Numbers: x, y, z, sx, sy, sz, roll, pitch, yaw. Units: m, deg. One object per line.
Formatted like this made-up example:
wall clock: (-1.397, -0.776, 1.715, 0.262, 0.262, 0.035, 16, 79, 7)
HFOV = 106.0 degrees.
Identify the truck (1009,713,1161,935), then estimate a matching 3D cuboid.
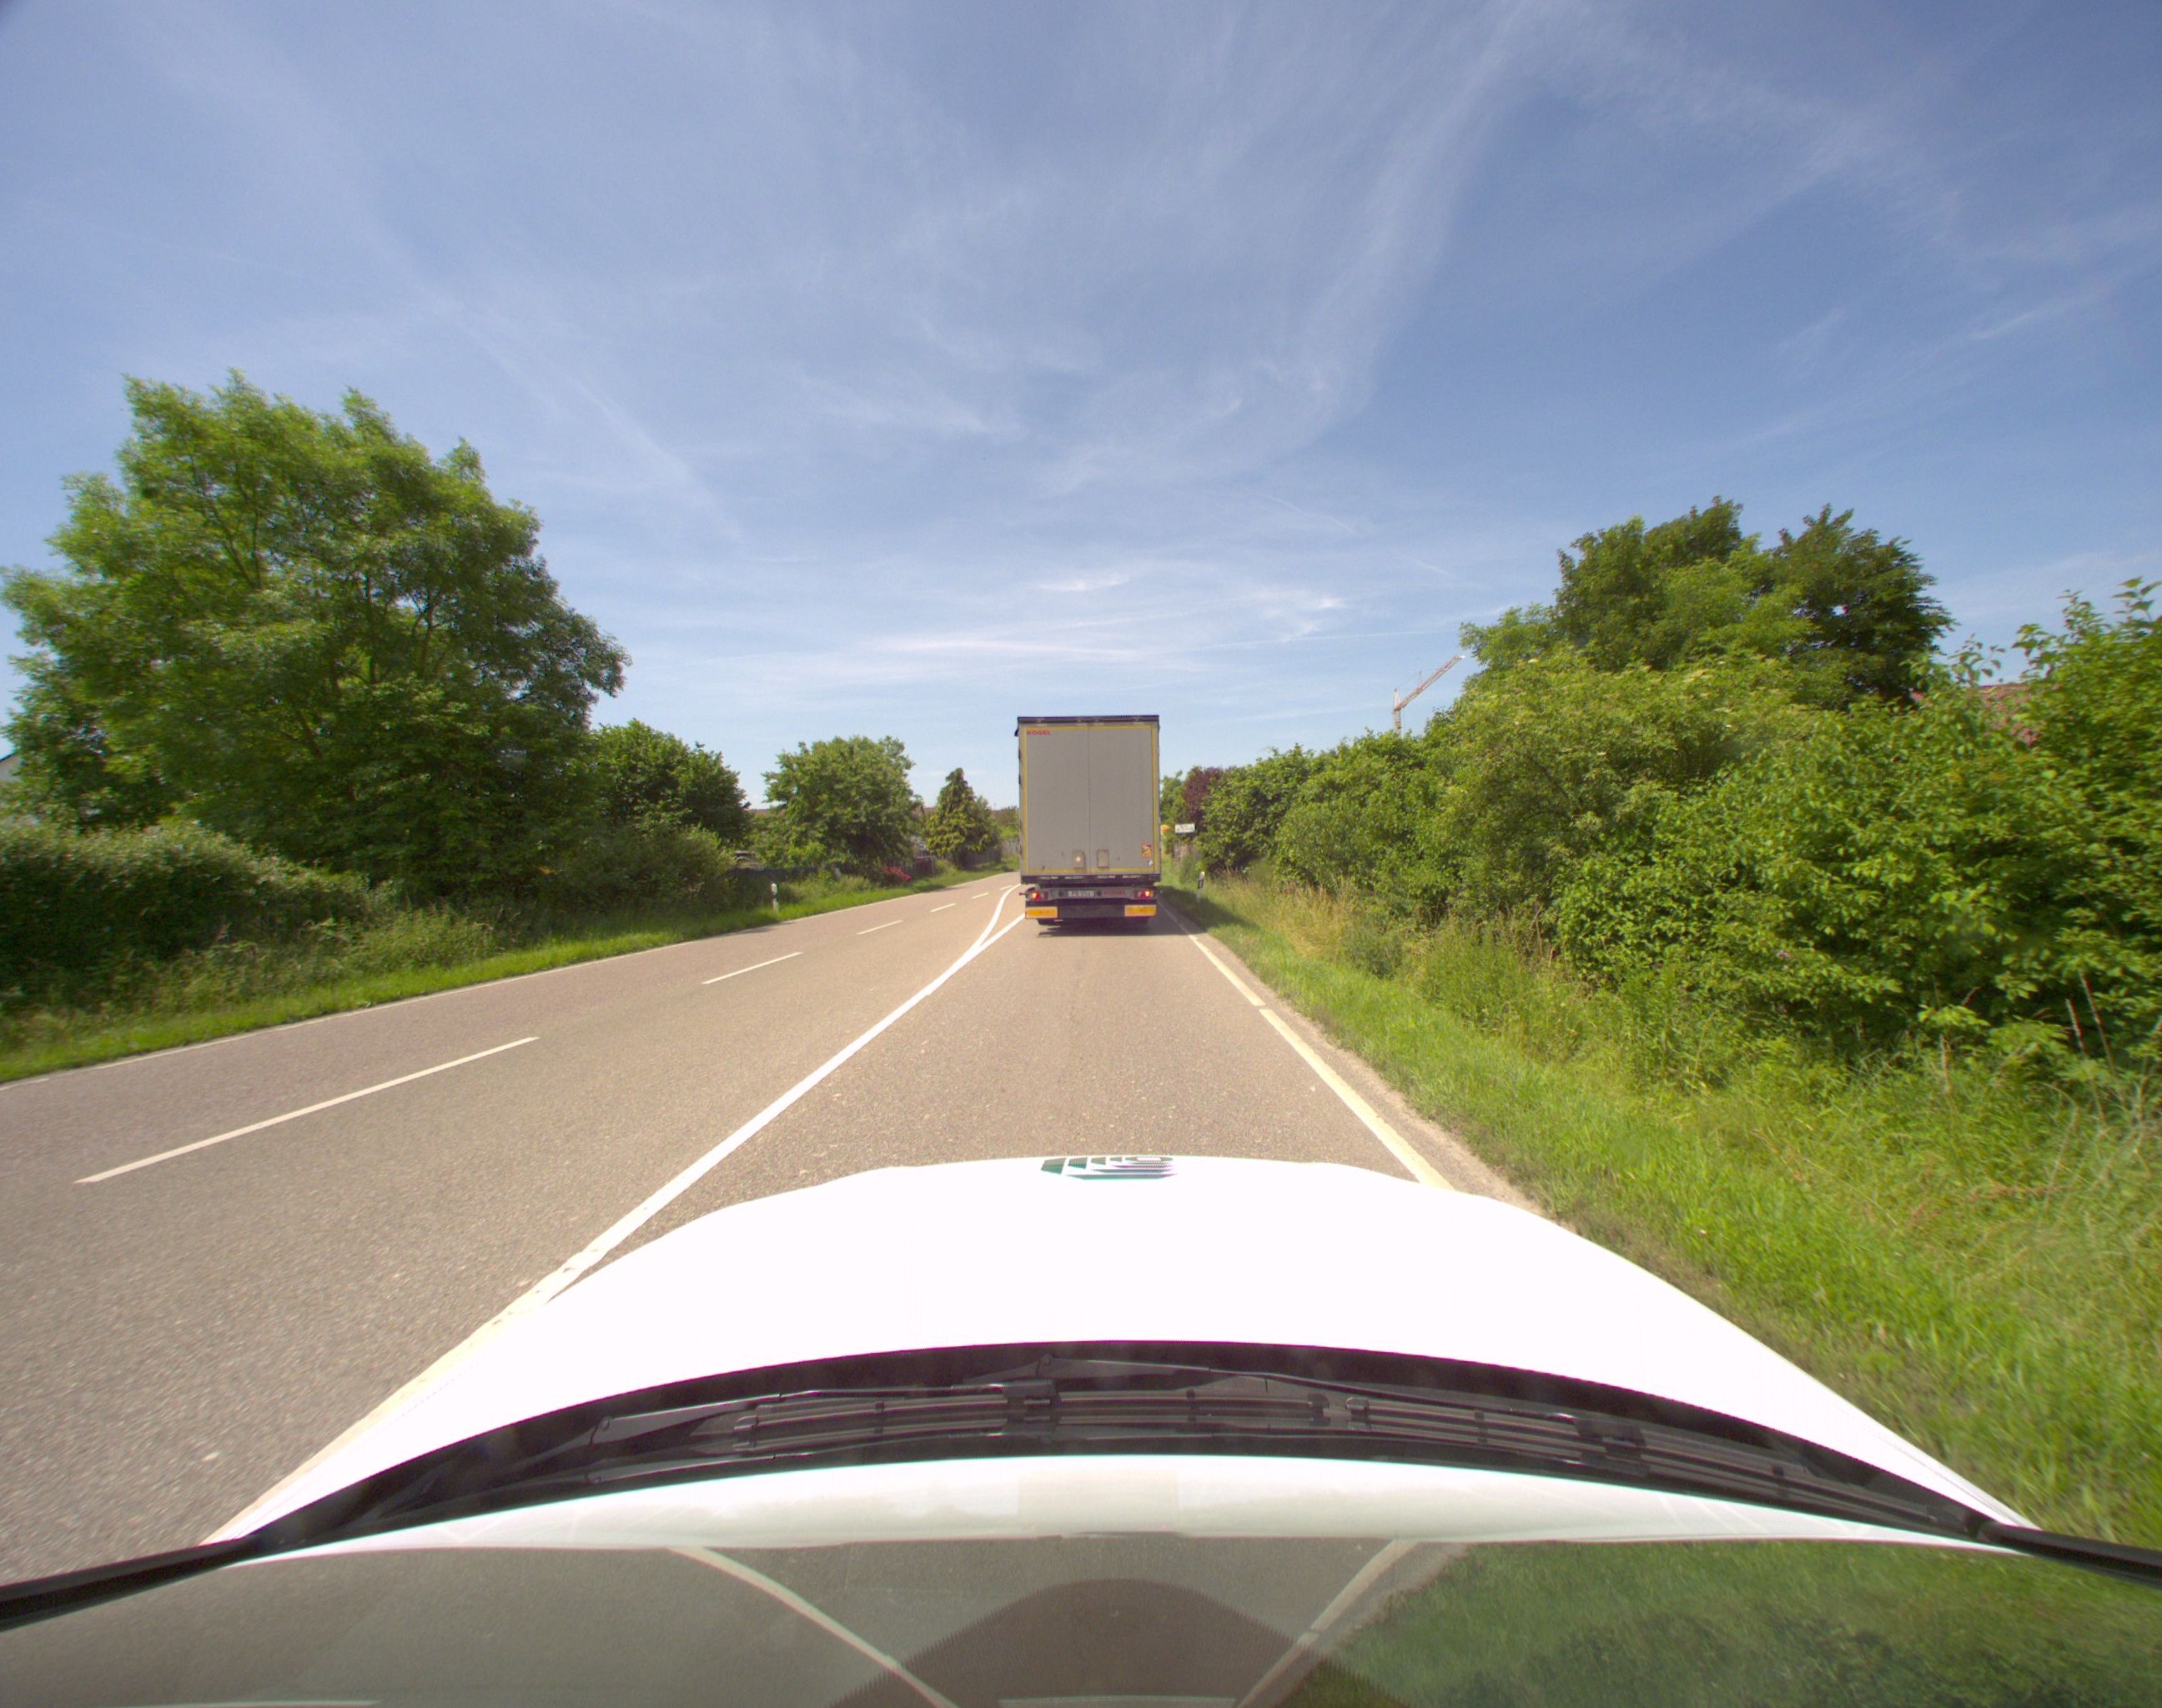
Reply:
truck: (0.116, -0.545, 18.912, 2.638, 3.917, 8.825, -1, 0, 0)
